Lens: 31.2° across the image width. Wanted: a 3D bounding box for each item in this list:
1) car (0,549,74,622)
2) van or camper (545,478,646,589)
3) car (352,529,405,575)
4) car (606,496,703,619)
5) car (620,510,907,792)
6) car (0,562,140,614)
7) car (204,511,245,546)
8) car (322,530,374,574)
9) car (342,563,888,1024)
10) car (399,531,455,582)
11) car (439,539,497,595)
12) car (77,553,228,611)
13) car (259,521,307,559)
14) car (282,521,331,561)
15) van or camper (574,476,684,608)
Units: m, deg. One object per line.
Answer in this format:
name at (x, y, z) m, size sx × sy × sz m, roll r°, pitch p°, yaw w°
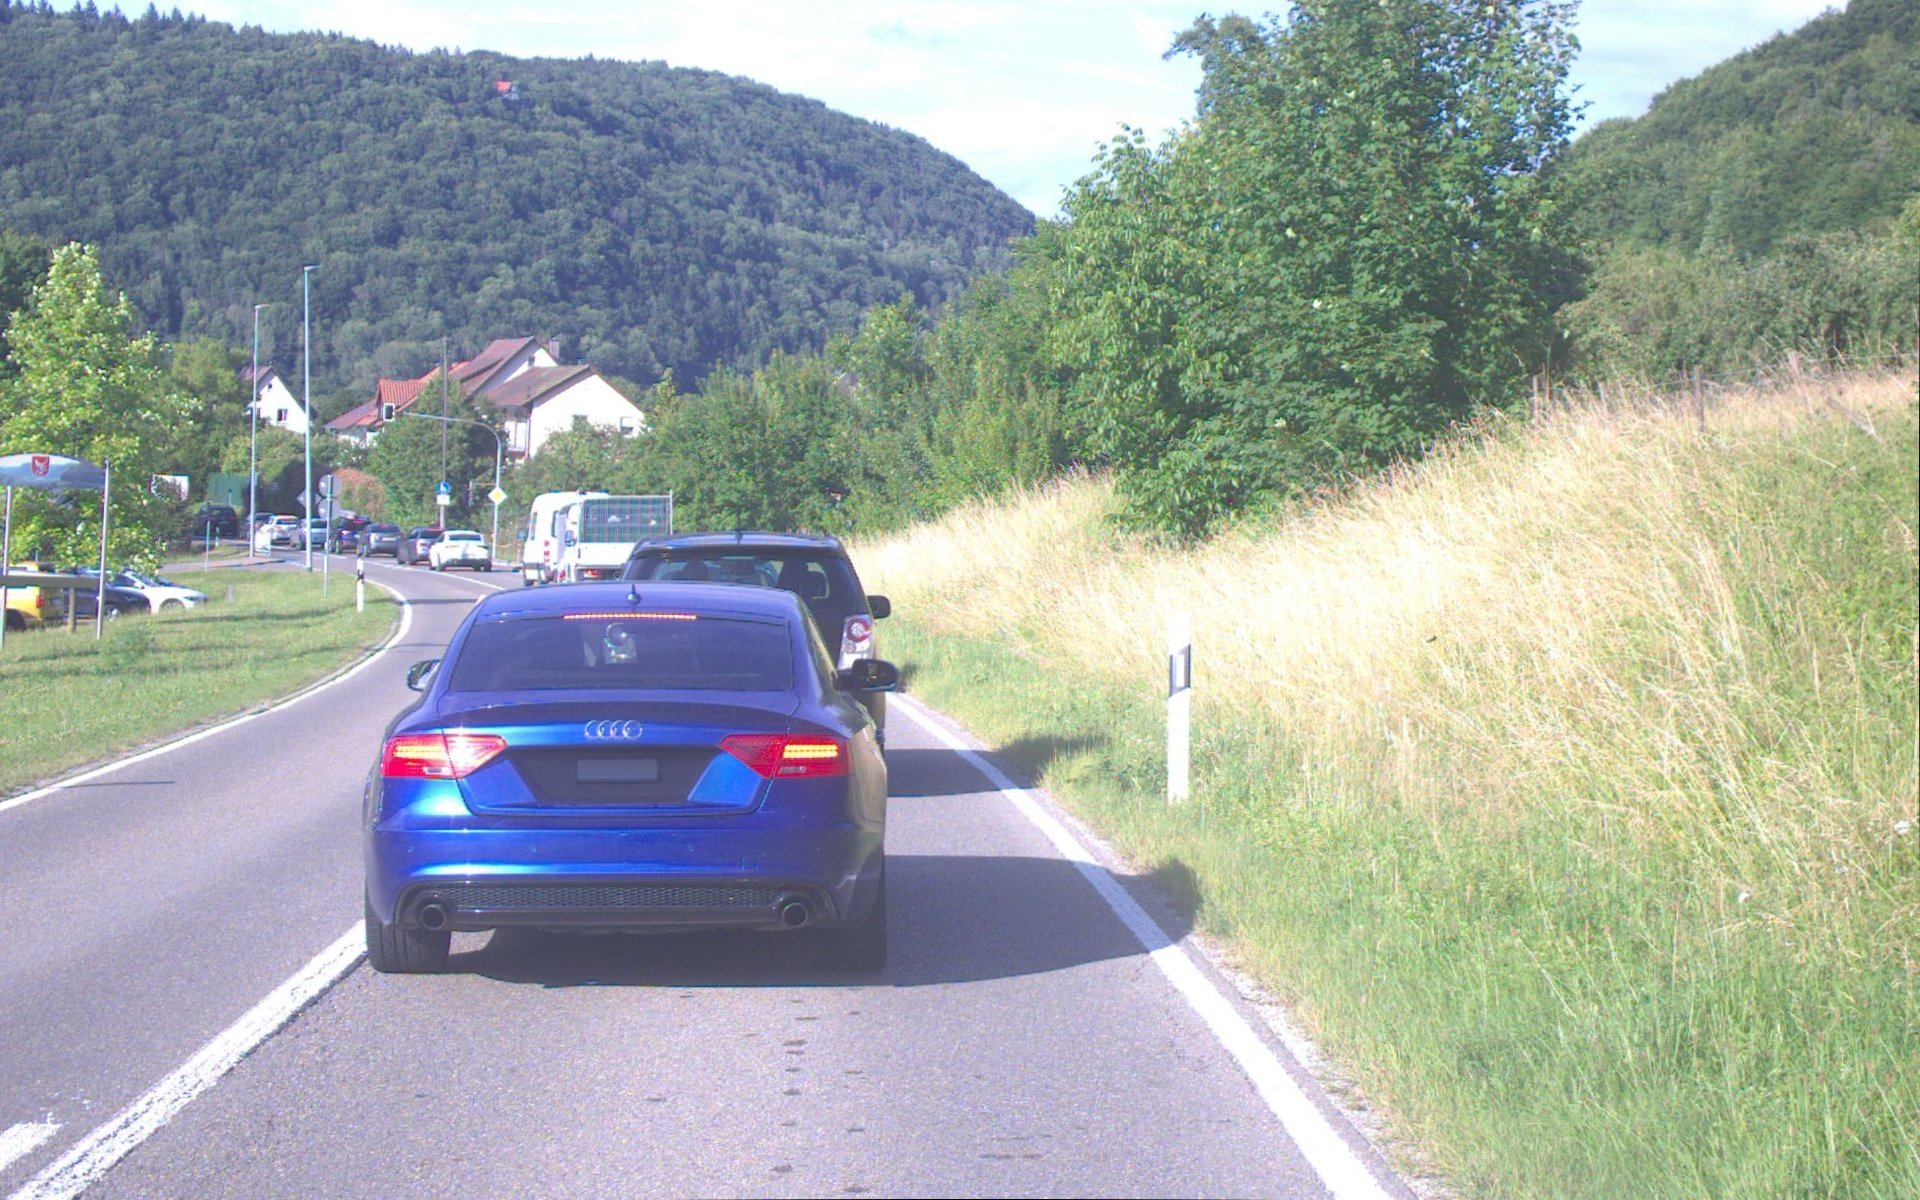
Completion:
car at (-25.110, -0.370, 87.584) m, size 4.554 × 1.808 × 1.841 m, roll 0°, pitch 1°, yaw 4°
van or camper at (-9.338, -1.679, 87.681) m, size 2.280 × 2.704 × 5.769 m, roll -1°, pitch 1°, yaw -9°
car at (-24.991, -2.060, 147.746) m, size 1.659 × 1.918 × 4.001 m, roll -1°, pitch 1°, yaw -18°
car at (-5.201, -0.733, 58.418) m, size 1.567 × 2.007 × 4.001 m, roll -1°, pitch 1°, yaw -5°
car at (-1.250, 0.273, 21.968) m, size 1.645 × 1.619 × 3.517 m, roll 1°, pitch 1°, yaw -3°
car at (-25.411, -0.347, 97.857) m, size 3.713 × 1.434 × 1.509 m, roll 0°, pitch 1°, yaw 4°
car at (-41.581, -4.020, 194.269) m, size 1.676 × 1.918 × 4.001 m, roll -1°, pitch 1°, yaw -21°
car at (-27.933, -2.184, 156.760) m, size 1.676 × 1.918 × 4.001 m, roll -1°, pitch 1°, yaw -20°
car at (-1.237, 0.602, 12.855) m, size 1.742 × 1.445 × 3.517 m, roll -1°, pitch 1°, yaw -4°
car at (-20.626, -1.690, 132.932) m, size 1.659 × 1.918 × 4.001 m, roll -1°, pitch 1°, yaw -15°
car at (-17.390, -1.181, 121.391) m, size 1.659 × 1.918 × 4.001 m, roll -1°, pitch 1°, yaw -13°
car at (-23.975, -0.540, 102.146) m, size 4.036 × 1.655 × 1.655 m, roll 0°, pitch 1°, yaw 4°
car at (-34.798, -3.065, 176.708) m, size 1.676 × 1.918 × 4.001 m, roll -1°, pitch 1°, yaw -22°
car at (-31.847, -2.878, 167.466) m, size 1.676 × 1.918 × 4.001 m, roll -1°, pitch 1°, yaw -21°
van or camper at (-6.628, -1.152, 68.562) m, size 2.051 × 2.497 × 5.813 m, roll -1°, pitch 1°, yaw -6°
